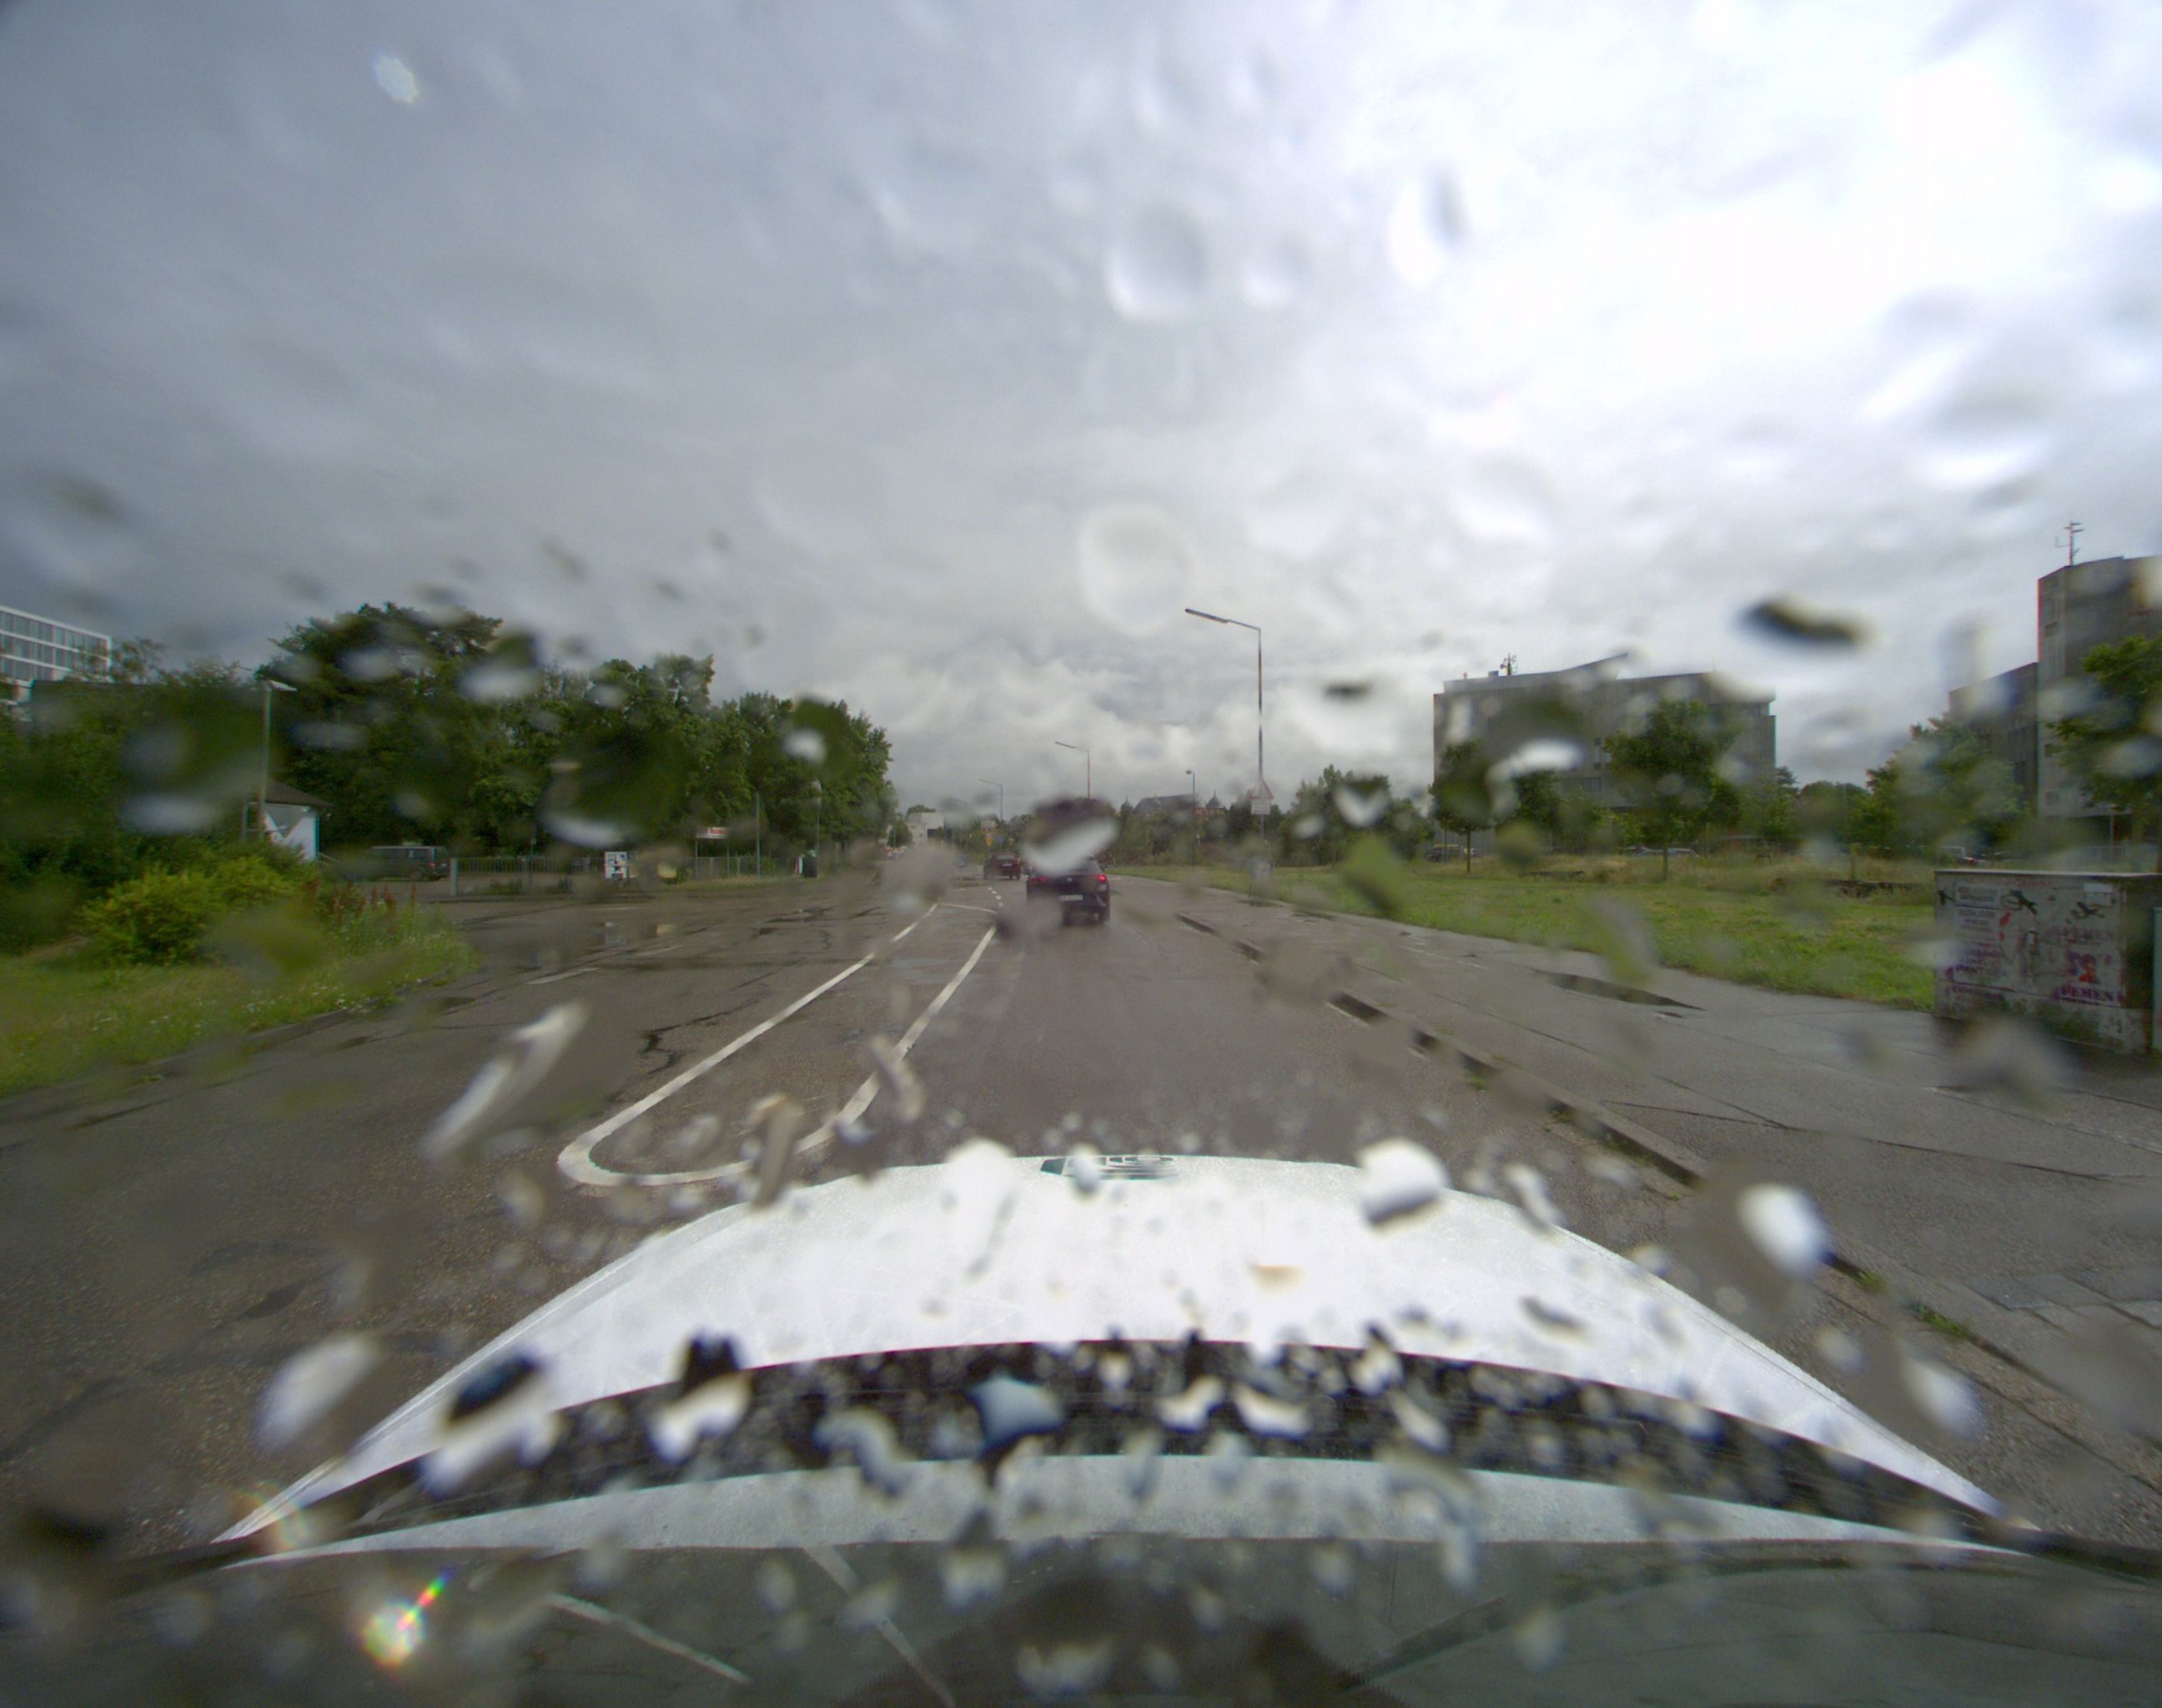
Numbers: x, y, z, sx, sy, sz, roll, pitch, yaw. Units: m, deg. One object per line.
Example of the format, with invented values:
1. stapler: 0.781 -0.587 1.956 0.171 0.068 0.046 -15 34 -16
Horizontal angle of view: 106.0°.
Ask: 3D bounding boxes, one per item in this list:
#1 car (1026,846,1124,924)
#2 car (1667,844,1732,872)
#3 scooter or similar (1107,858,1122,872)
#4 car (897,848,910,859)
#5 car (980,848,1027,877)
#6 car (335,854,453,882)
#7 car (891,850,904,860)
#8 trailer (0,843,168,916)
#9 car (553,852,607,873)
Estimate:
1. car: -0.224 0.625 18.730 1.982 1.520 3.996 -2 0 -3
2. car: 44.659 0.299 58.867 3.661 2.014 2.013 0 -1 37
3. scooter or similar: 3.230 1.044 77.544 1.268 1.187 0.506 3 1 25
4. car: -28.310 -0.065 129.726 1.845 1.641 3.994 0 0 -16
5. car: -4.288 0.465 44.614 1.845 1.442 3.979 -3 0 -15
6. car: -37.815 0.734 44.935 4.533 1.418 1.992 -1 0 -13
7. car: -32.354 0.135 143.297 2.000 1.702 3.994 0 0 -16
8. trailer: -30.798 0.748 24.447 4.107 2.089 1.835 1 0 -15
9. car: -34.958 0.582 56.949 1.997 1.418 4.520 -1 0 -15
